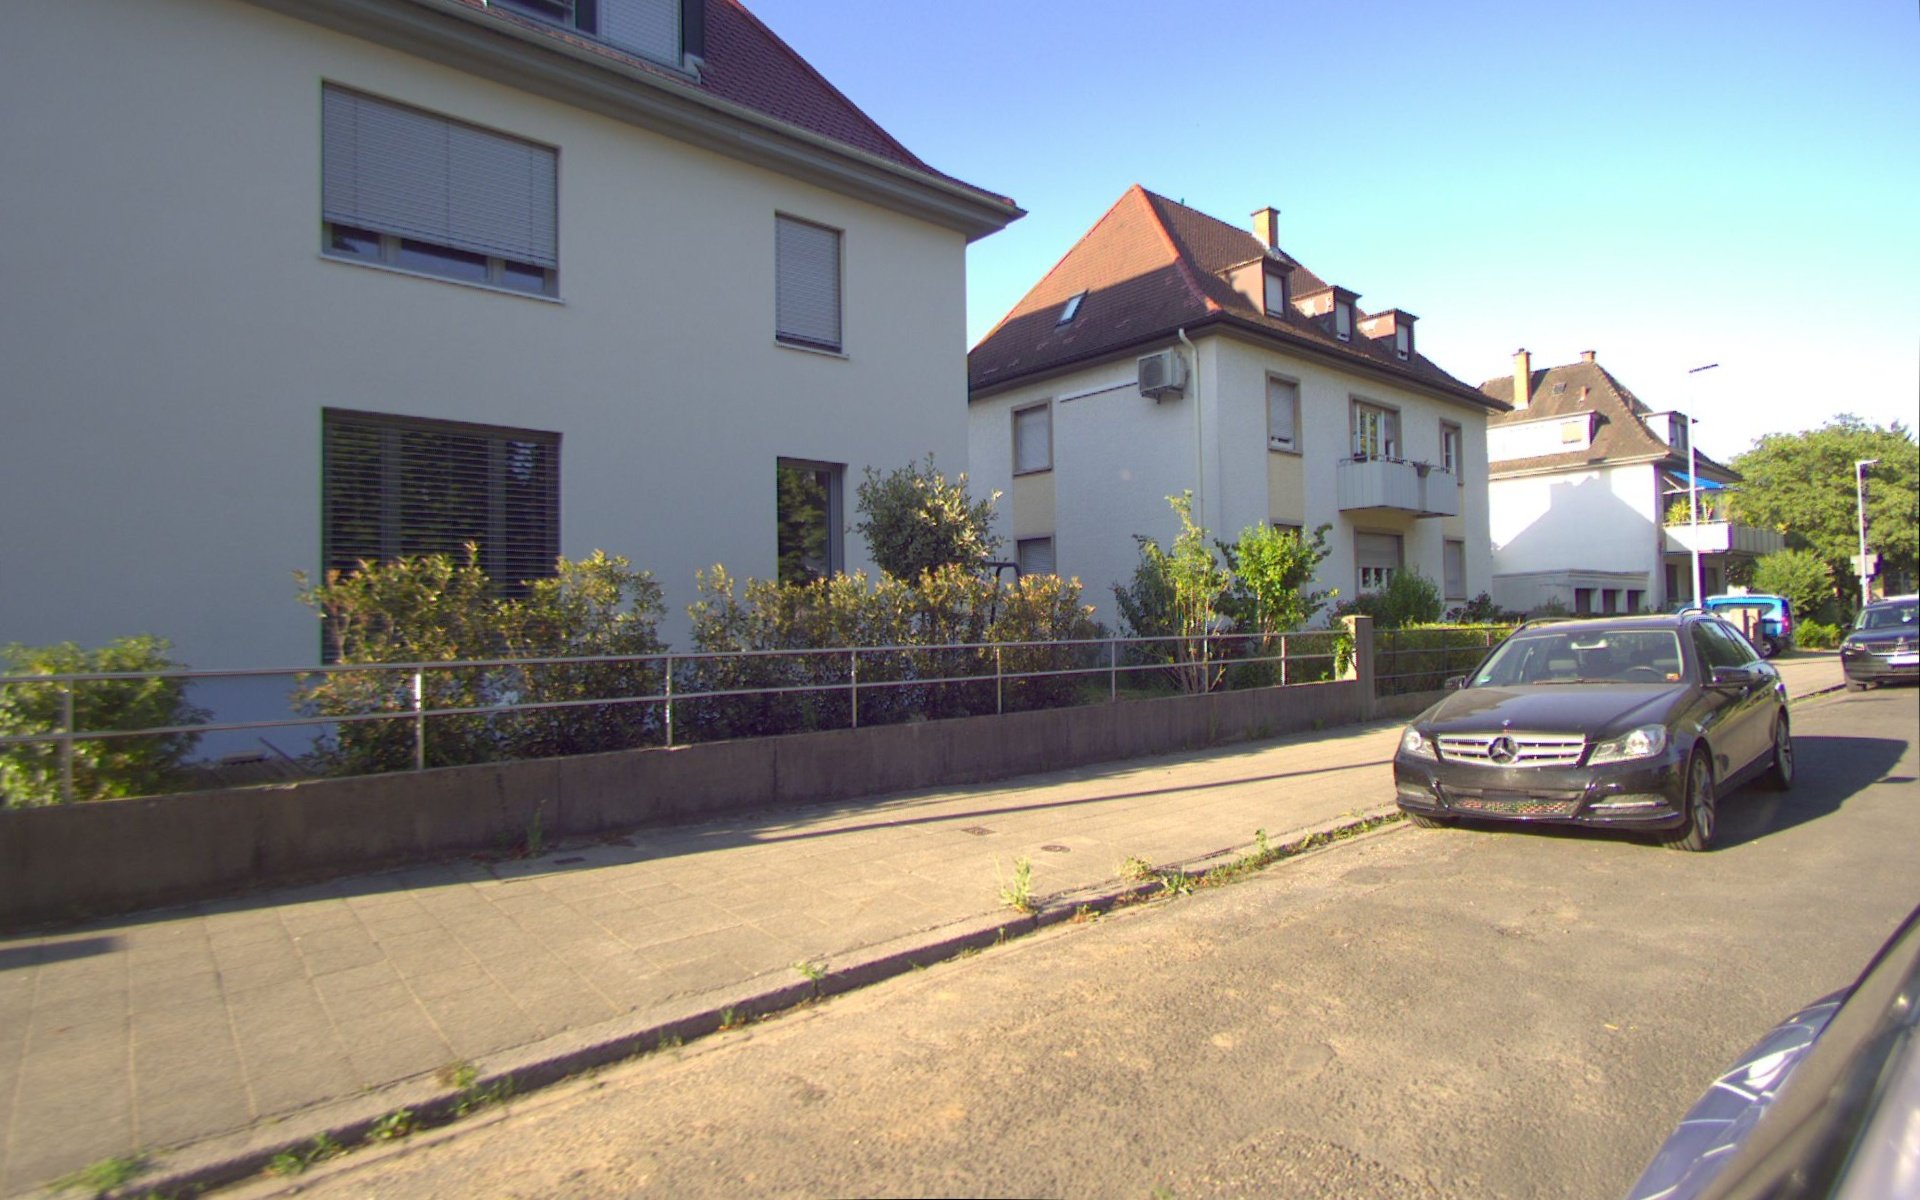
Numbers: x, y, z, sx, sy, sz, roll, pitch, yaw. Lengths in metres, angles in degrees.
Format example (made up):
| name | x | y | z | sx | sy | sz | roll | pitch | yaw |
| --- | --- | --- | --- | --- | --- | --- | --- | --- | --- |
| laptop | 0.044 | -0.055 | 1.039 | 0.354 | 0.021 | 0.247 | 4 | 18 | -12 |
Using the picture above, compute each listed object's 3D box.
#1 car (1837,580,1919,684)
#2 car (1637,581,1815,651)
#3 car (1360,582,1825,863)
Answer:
| name | x | y | z | sx | sy | sz | roll | pitch | yaw |
| --- | --- | --- | --- | --- | --- | --- | --- | --- | --- |
| car | 18.182 | 0.538 | 19.041 | 4.391 | 1.743 | 1.859 | 0 | -7 | -42 |
| car | 23.060 | 0.498 | 30.540 | 1.966 | 1.953 | 3.990 | 1 | -2 | -43 |
| car | 4.933 | 0.721 | 7.625 | 4.322 | 1.519 | 1.781 | 0 | -4 | -42 |
